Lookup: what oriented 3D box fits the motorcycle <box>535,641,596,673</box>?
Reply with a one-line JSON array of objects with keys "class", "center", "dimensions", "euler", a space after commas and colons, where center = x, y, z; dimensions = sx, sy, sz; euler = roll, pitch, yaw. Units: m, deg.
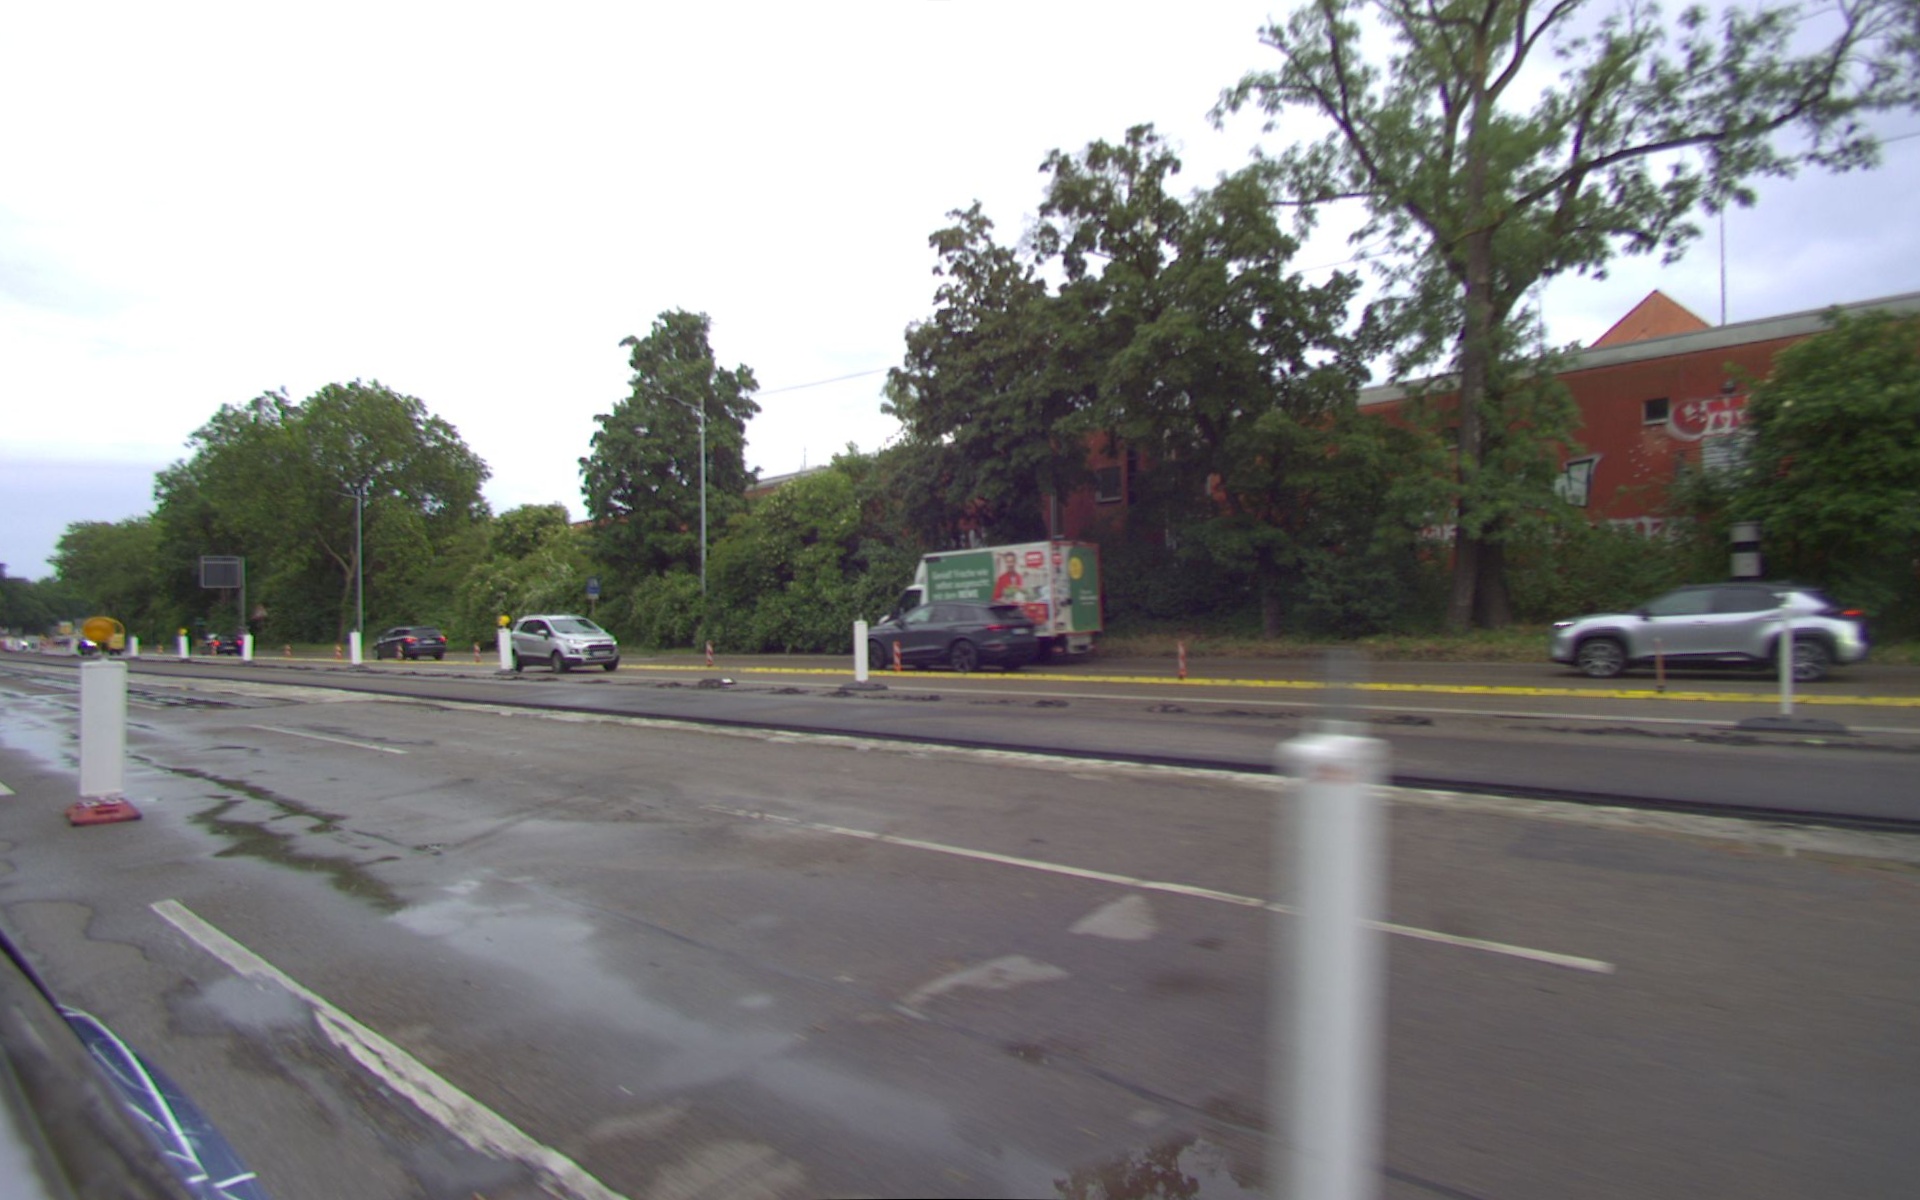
[{"class": "motorcycle", "center": [-13.393, 1.936, 34.328], "dimensions": [2.592, 0.996, 0.800], "euler": [-3, 0, 41]}]

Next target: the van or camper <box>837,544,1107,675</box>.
[{"class": "van or camper", "center": [0.116, 0.356, 27.082], "dimensions": [7.447, 3.086, 2.274], "euler": [-3, -2, 41]}]

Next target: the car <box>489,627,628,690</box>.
[{"class": "car", "center": [-11.453, 1.647, 28.713], "dimensions": [4.362, 1.576, 1.869], "euler": [-3, -1, 42]}]

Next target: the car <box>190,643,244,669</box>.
[{"class": "car", "center": [-48.034, 3.612, 65.377], "dimensions": [4.395, 1.563, 1.869], "euler": [-3, 0, 41]}]

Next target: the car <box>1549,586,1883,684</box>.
[{"class": "car", "center": [11.946, 0.576, 16.220], "dimensions": [4.079, 1.375, 1.698], "euler": [-3, -2, 41]}]

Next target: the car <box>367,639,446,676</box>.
[{"class": "car", "center": [-24.177, 2.515, 44.148], "dimensions": [4.105, 1.453, 1.670], "euler": [-3, -1, 41]}]

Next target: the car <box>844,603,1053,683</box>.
[{"class": "car", "center": [-0.352, 1.013, 23.779], "dimensions": [4.804, 1.706, 1.973], "euler": [-3, -2, 41]}]

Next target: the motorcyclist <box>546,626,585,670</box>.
[{"class": "motorcyclist", "center": [-13.373, 1.611, 34.309], "dimensions": [0.975, 1.421, 0.805], "euler": [-3, 0, 41]}]
